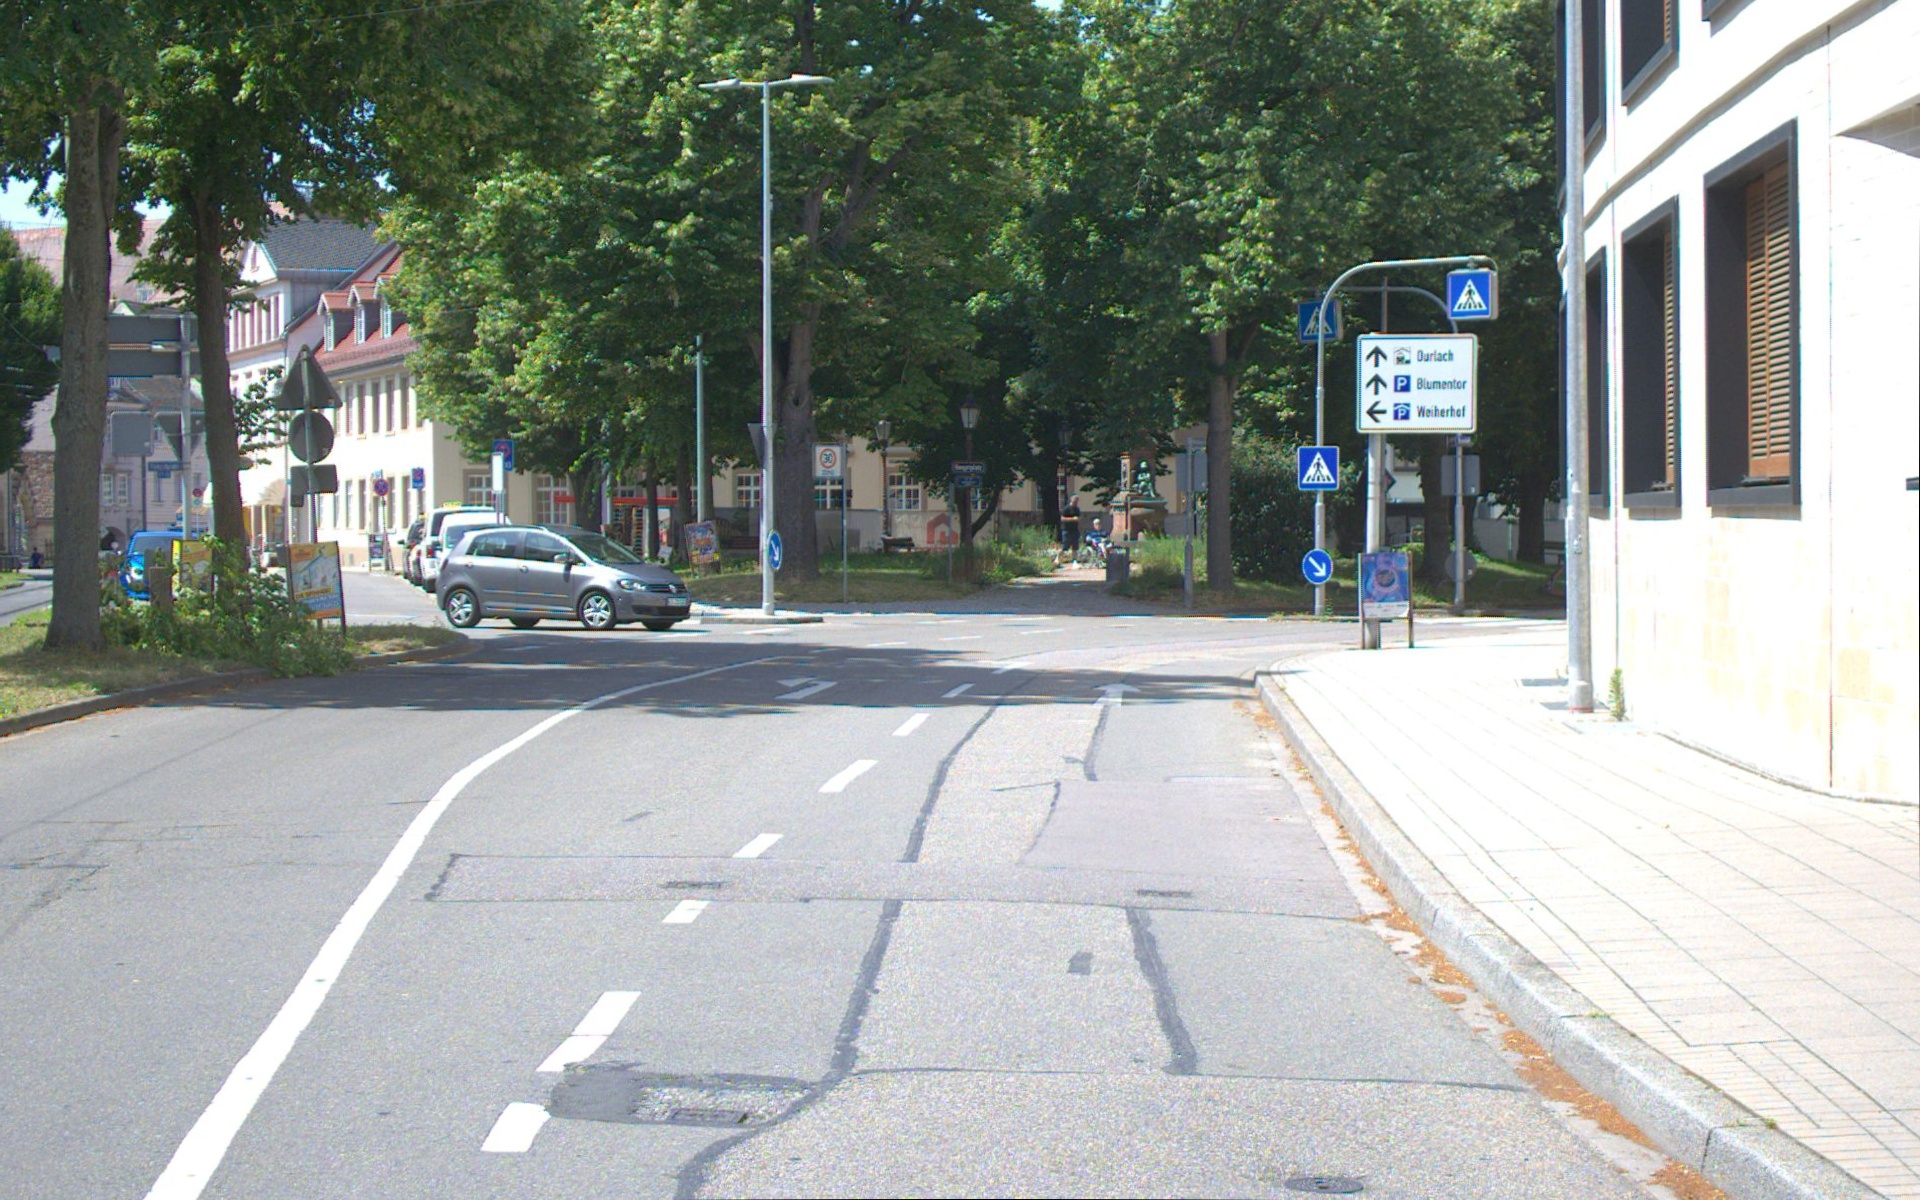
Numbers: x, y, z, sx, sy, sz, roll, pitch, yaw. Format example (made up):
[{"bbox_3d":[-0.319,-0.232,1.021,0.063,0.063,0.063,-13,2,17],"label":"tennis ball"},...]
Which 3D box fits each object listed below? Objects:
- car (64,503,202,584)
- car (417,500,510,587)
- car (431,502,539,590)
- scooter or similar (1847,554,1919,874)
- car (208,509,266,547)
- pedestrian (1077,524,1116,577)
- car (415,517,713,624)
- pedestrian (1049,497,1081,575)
[{"bbox_3d":[-15.677,-1.094,65.329,1.809,1.487,4.001,0,2,-2],"label":"car"},{"bbox_3d":[-11.806,-1.373,81.539,2.049,1.995,5.250,0,2,-10],"label":"car"},{"bbox_3d":[-10.153,-1.175,73.270,1.993,1.820,4.424,0,2,-11],"label":"car"},{"bbox_3d":[4.089,0.451,13.735,0.581,1.256,1.368,-2,1,-5],"label":"scooter or similar"},{"bbox_3d":[-28.806,-2.864,136.883,1.860,1.481,4.001,0,1,-17],"label":"car"},{"bbox_3d":[3.347,-1.213,84.242,0.906,1.247,1.148,1,3,4],"label":"pedestrian"},{"bbox_3d":[-6.083,-0.473,52.731,4.237,1.528,1.906,2,1,31],"label":"car"},{"bbox_3d":[2.583,-1.577,84.850,0.748,1.904,0.684,1,3,4],"label":"pedestrian"}]
